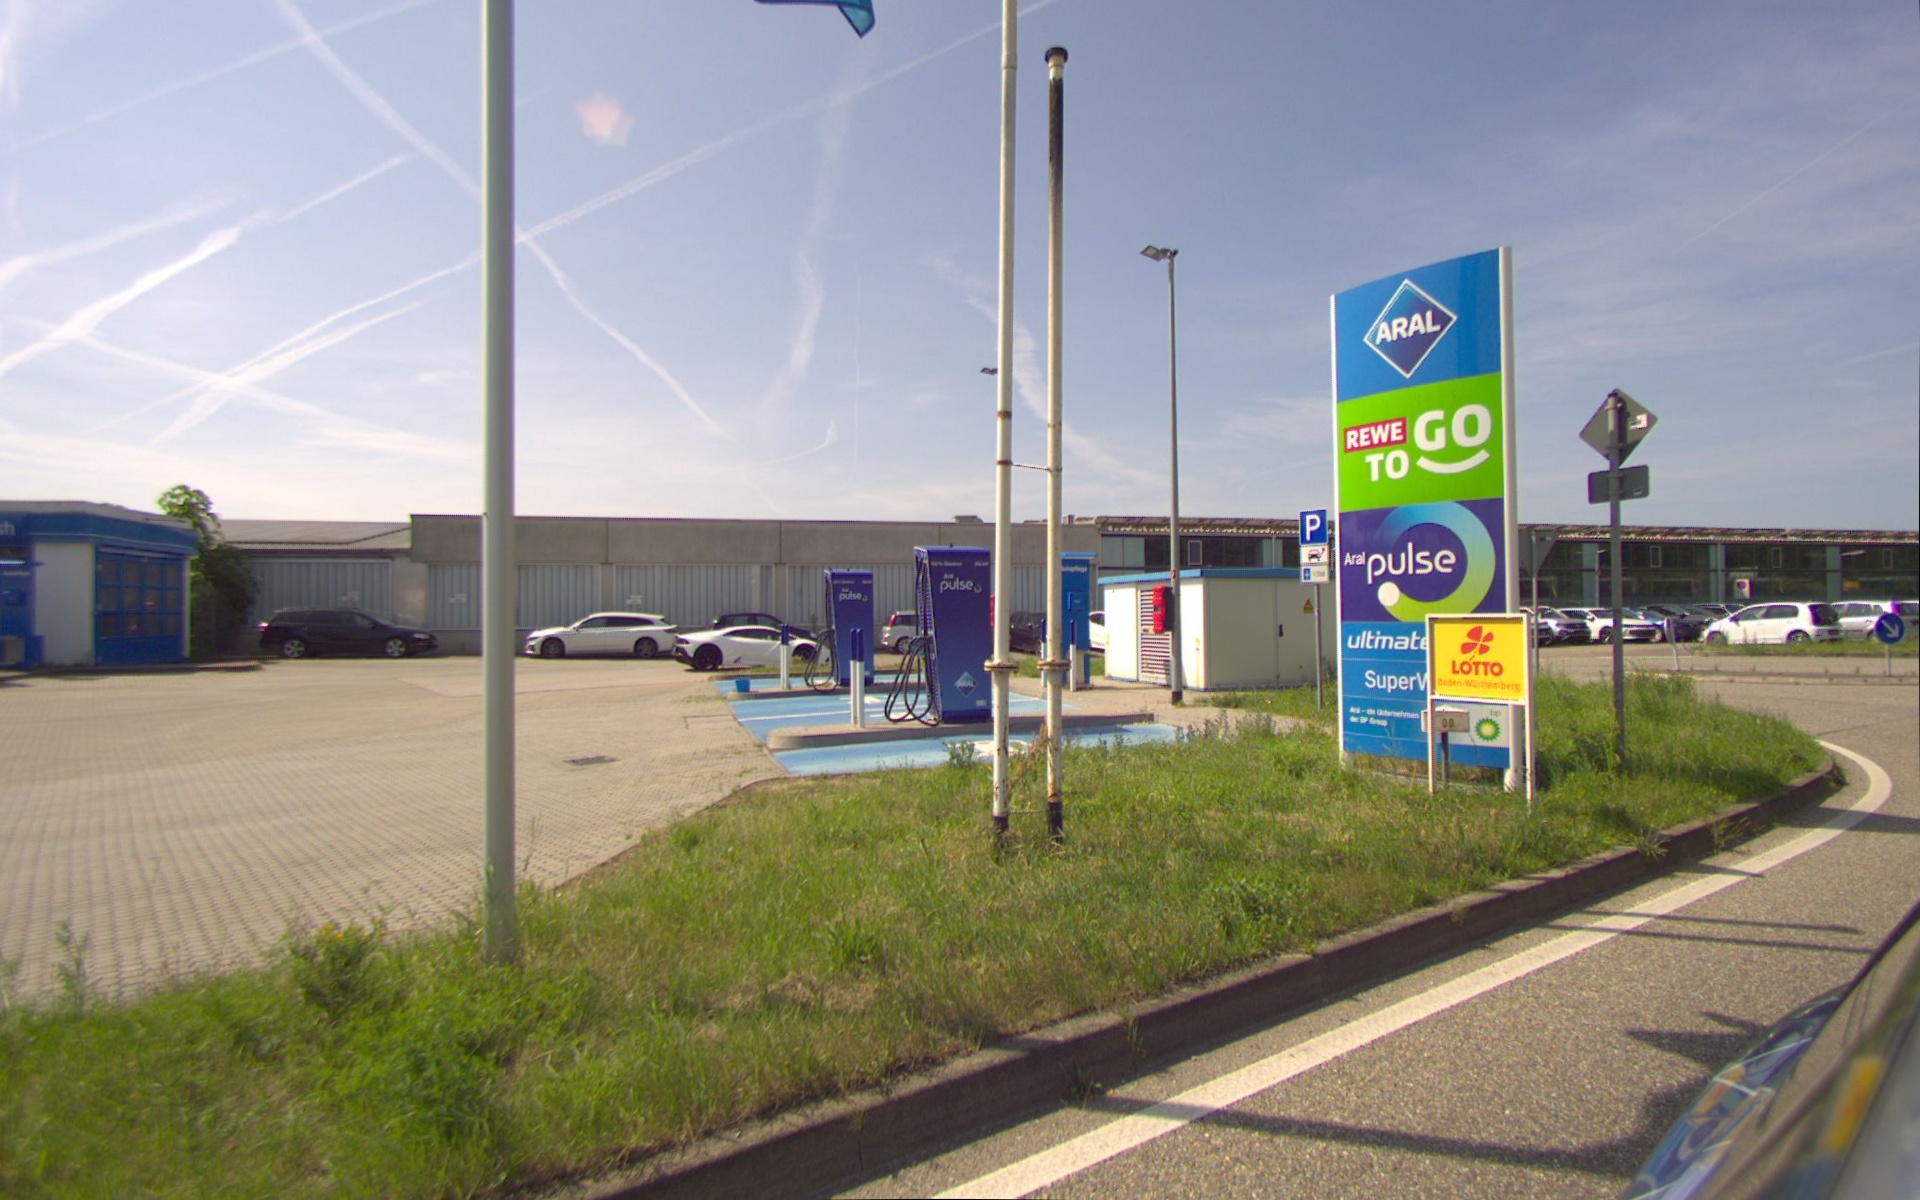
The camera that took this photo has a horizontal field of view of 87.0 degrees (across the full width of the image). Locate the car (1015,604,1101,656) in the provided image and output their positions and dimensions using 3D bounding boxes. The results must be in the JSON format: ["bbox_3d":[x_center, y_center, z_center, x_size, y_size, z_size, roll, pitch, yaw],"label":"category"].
[{"bbox_3d":[3.266,0.968,34.607,1.851,1.624,4.028,0,0,-11],"label":"car"}]

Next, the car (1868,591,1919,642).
[{"bbox_3d":[32.563,0.561,32.852,1.784,1.659,4.267,2,-1,-19],"label":"car"}]

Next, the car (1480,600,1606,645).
[{"bbox_3d":[23.296,0.865,40.641,1.784,1.659,4.474,1,-1,-13],"label":"car"}]

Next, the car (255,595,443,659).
[{"bbox_3d":[-18.378,0.774,30.693,4.557,1.849,1.894,0,0,-19],"label":"car"}]

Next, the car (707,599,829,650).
[{"bbox_3d":[-6.520,0.790,34.250,3.937,1.625,1.894,0,0,-14],"label":"car"}]

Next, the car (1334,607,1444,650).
[{"bbox_3d":[16.052,1.033,38.095,1.784,1.476,4.053,1,-1,-13],"label":"car"}]

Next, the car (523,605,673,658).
[{"bbox_3d":[-11.565,0.973,32.596,4.435,1.624,1.894,0,0,-17],"label":"car"}]

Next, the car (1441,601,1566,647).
[{"bbox_3d":[21.076,0.890,39.462,1.784,1.659,4.474,1,-1,-13],"label":"car"}]

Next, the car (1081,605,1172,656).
[{"bbox_3d":[5.709,1.012,35.197,1.851,1.624,4.028,0,0,-11],"label":"car"}]

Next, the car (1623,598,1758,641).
[{"bbox_3d":[30.370,0.772,42.232,1.784,1.659,4.474,1,-1,-13],"label":"car"}]

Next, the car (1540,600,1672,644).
[{"bbox_3d":[25.769,0.845,40.597,1.784,1.659,4.474,1,-1,-13],"label":"car"}]

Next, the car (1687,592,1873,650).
[{"bbox_3d":[25.680,0.631,31.887,1.784,1.659,4.267,2,-1,-19],"label":"car"}]

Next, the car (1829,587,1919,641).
[{"bbox_3d":[30.360,0.453,31.845,1.784,1.659,4.267,2,-1,-19],"label":"car"}]

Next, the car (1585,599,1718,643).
[{"bbox_3d":[28.331,0.820,41.631,1.784,1.659,4.474,1,-1,-13],"label":"car"}]

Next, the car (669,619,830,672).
[{"bbox_3d":[-5.675,1.183,27.306,4.039,1.268,1.702,0,0,-21],"label":"car"}]

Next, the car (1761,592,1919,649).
[{"bbox_3d":[27.877,0.621,31.559,1.784,1.659,4.267,2,-1,-19],"label":"car"}]

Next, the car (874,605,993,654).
[{"bbox_3d":[-0.965,0.995,35.481,3.938,1.625,1.893,0,0,-10],"label":"car"}]
